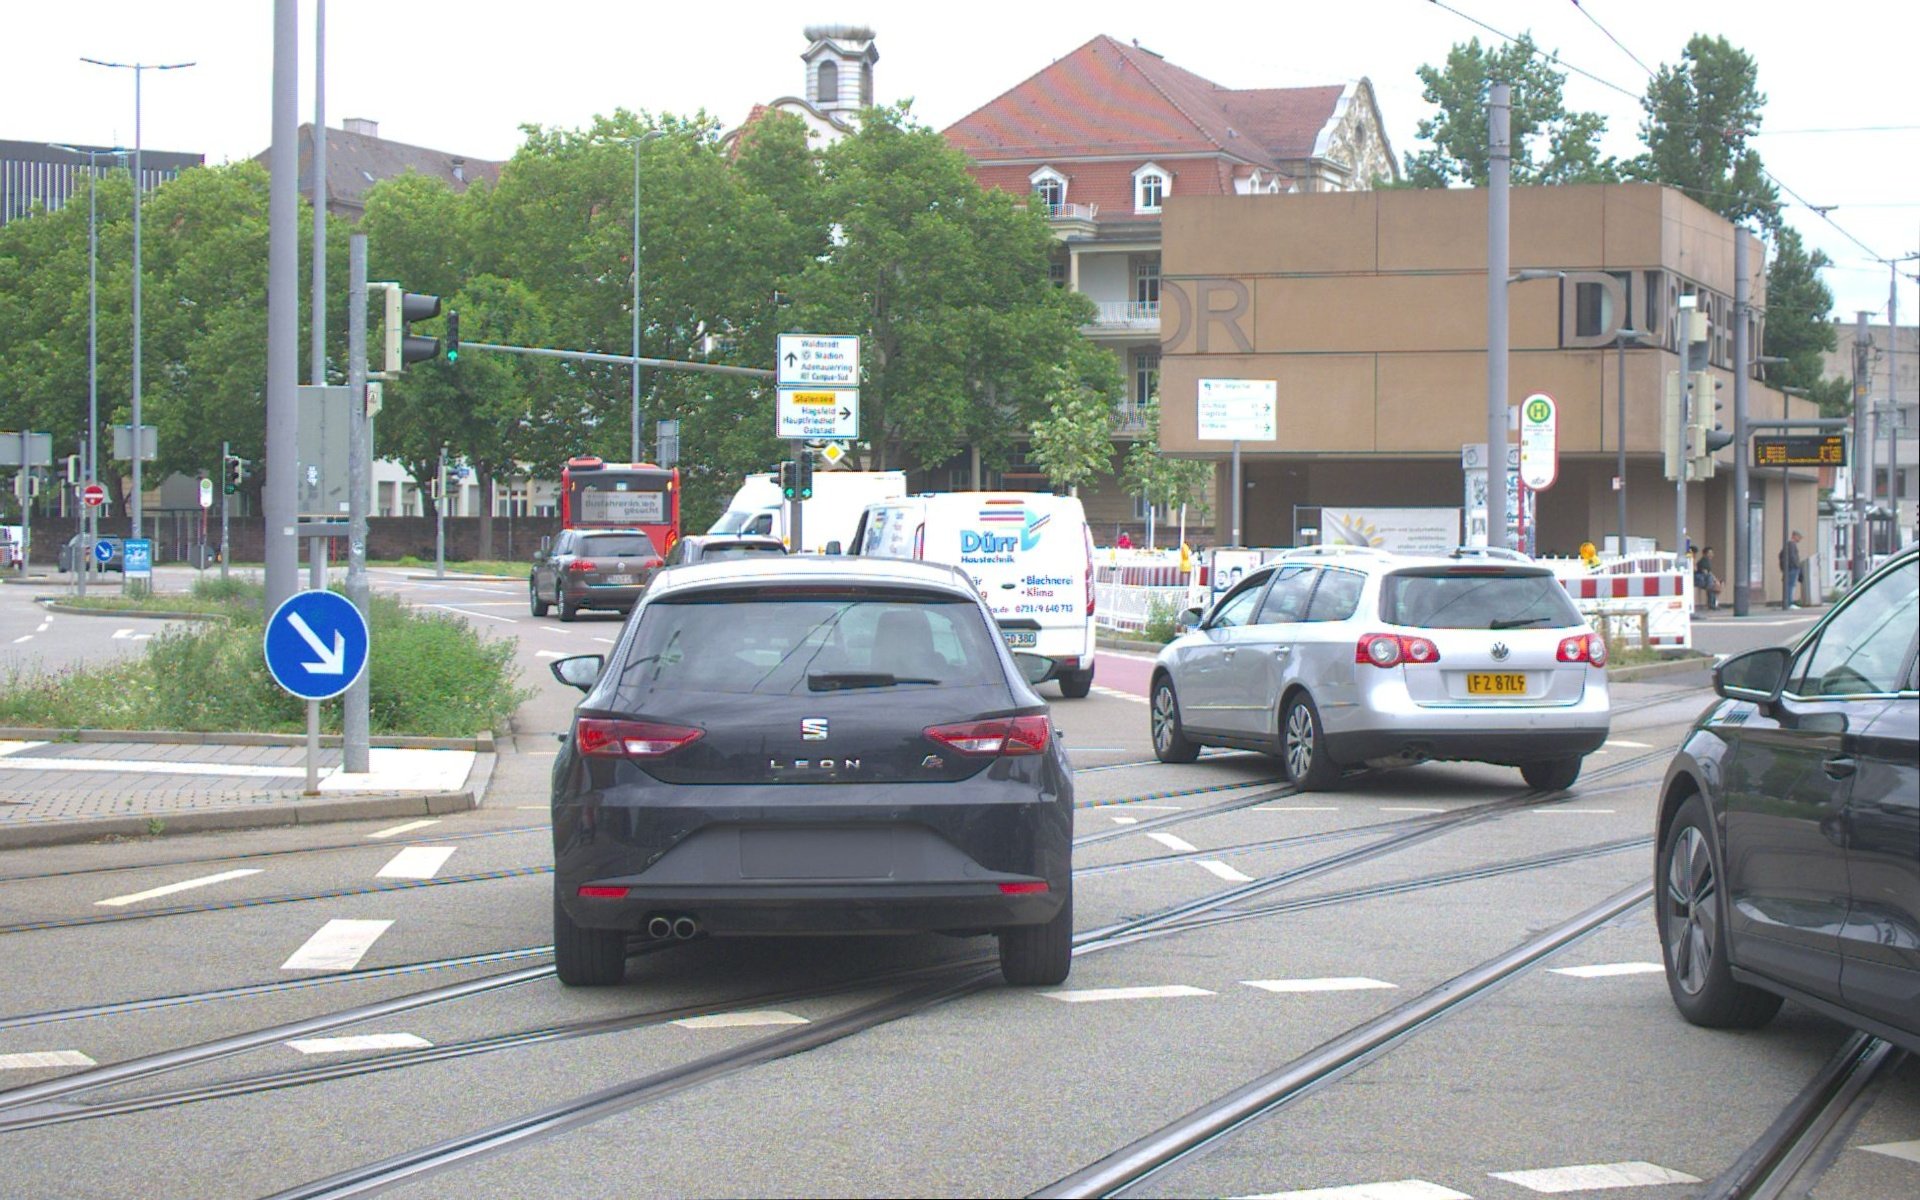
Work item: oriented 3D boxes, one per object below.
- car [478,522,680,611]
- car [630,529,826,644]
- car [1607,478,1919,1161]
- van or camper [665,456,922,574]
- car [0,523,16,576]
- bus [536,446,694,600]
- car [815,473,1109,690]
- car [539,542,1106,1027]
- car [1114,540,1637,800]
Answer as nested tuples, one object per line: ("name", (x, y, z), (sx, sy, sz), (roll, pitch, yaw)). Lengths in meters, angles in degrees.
("car", (-7.024, -0.625, 63.042), (1.993, 1.560, 4.205), (0, 1, -33))
("car", (-3.438, -0.225, 50.152), (1.857, 1.595, 4.206), (1, 1, -18))
("car", (3.236, 0.528, 9.183), (1.903, 1.652, 4.515), (1, 1, -3))
("van or camper", (-4.899, -2.449, 101.657), (7.129, 3.321, 2.876), (0, 0, -34))
("car", (-37.574, -1.932, 131.163), (1.993, 2.007, 4.000), (-1, 1, -31))
("bus", (-8.240, -1.747, 80.752), (3.057, 3.286, 12.382), (1, 1, -8))
("car", (-0.074, -0.213, 34.607), (1.993, 2.012, 5.033), (1, 1, -11))
("car", (-0.628, 0.534, 12.680), (1.745, 1.459, 4.001), (-1, 1, -6))
("car", (2.527, 0.360, 22.185), (1.720, 1.477, 4.630), (0, 1, -15))
